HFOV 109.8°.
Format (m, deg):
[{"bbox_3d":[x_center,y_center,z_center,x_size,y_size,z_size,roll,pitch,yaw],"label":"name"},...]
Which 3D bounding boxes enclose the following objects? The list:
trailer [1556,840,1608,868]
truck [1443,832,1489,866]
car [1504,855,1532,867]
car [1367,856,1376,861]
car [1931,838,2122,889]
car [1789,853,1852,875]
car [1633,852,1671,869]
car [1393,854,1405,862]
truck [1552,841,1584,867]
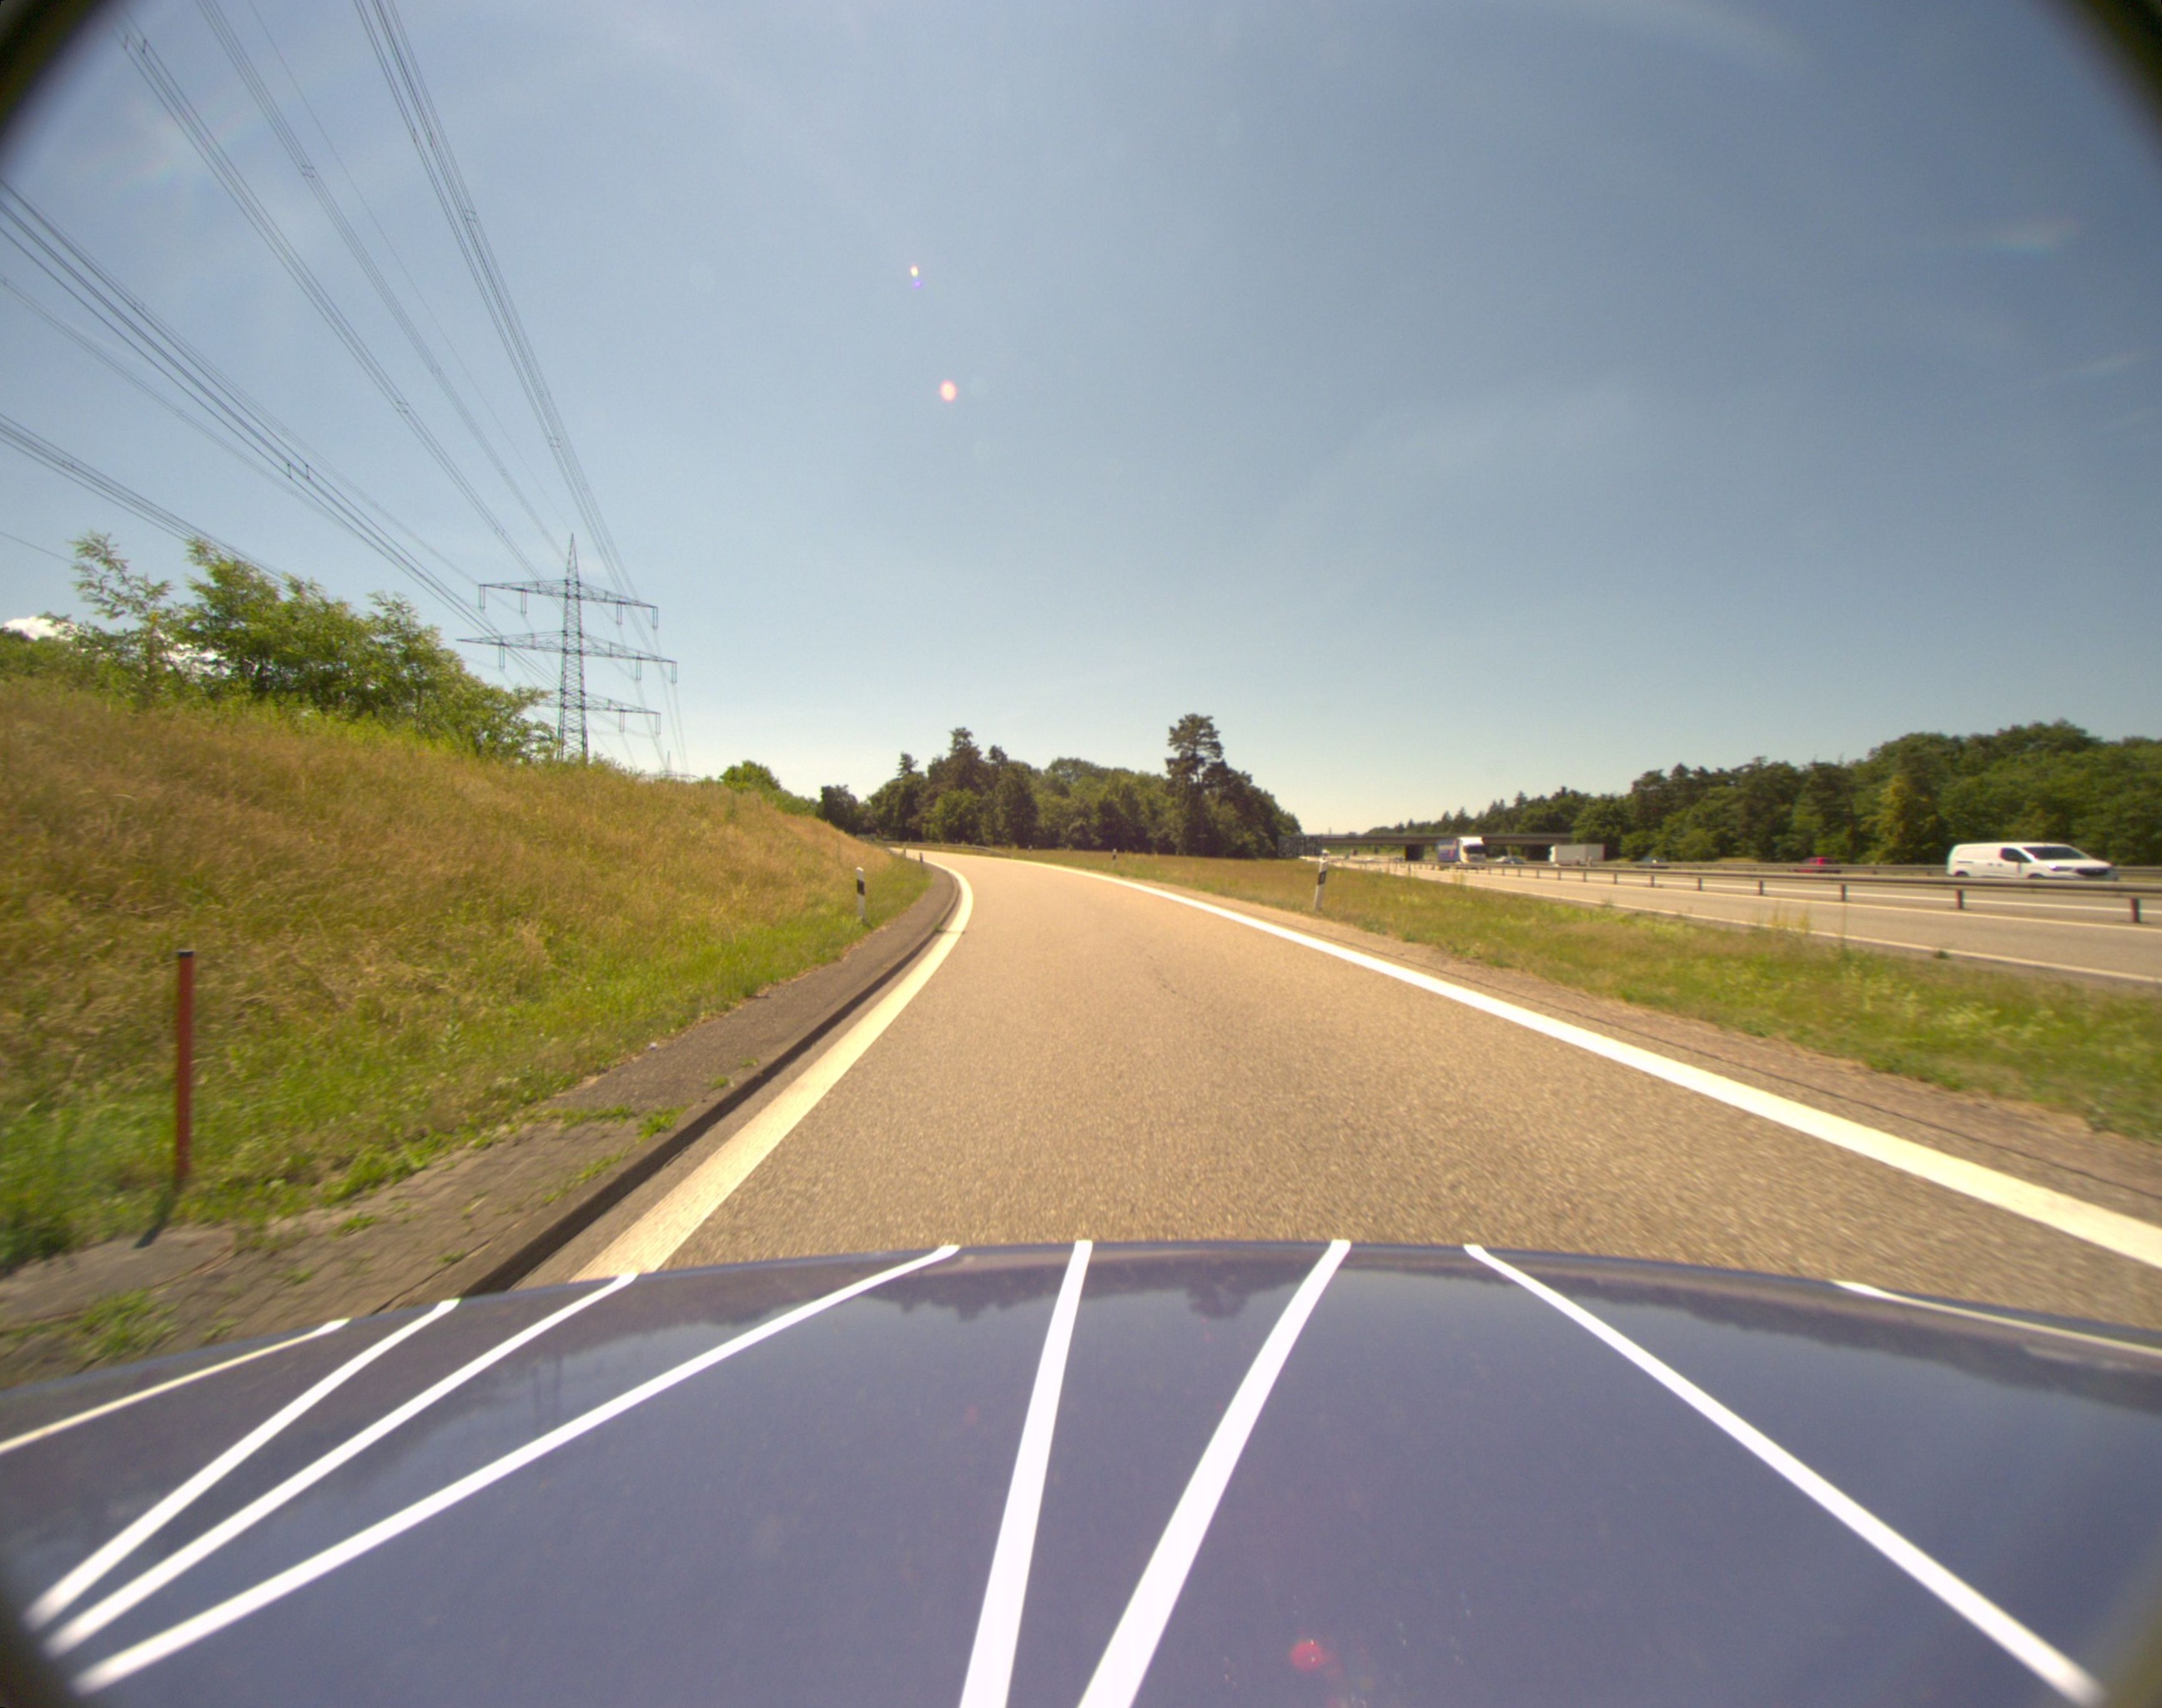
[{"bbox_3d":[83.932,-0.039,127.645,2.928,4.362,14.314,2,1,16],"label":"trailer"},{"bbox_3d":[48.684,-0.541,96.417,2.707,4.034,11.060,-1,0,14],"label":"truck"},{"bbox_3d":[56.170,0.828,97.733,1.996,1.467,4.246,-1,0,12],"label":"car"},{"bbox_3d":[90.692,1.361,237.441,1.997,1.559,4.004,-1,0,12],"label":"car"},{"bbox_3d":[34.824,0.324,28.248,1.774,1.743,5.025,0,0,14],"label":"car"},{"bbox_3d":[62.194,0.789,63.982,1.963,1.718,4.004,2,1,14],"label":"car"},{"bbox_3d":[63.546,0.788,84.652,1.996,1.837,4.364,0,-1,15],"label":"car"},{"bbox_3d":[74.071,0.932,177.076,1.996,1.707,4.005,-1,0,15],"label":"car"},{"bbox_3d":[85.720,-0.082,133.871,2.942,4.367,6.278,2,1,16],"label":"truck"}]
